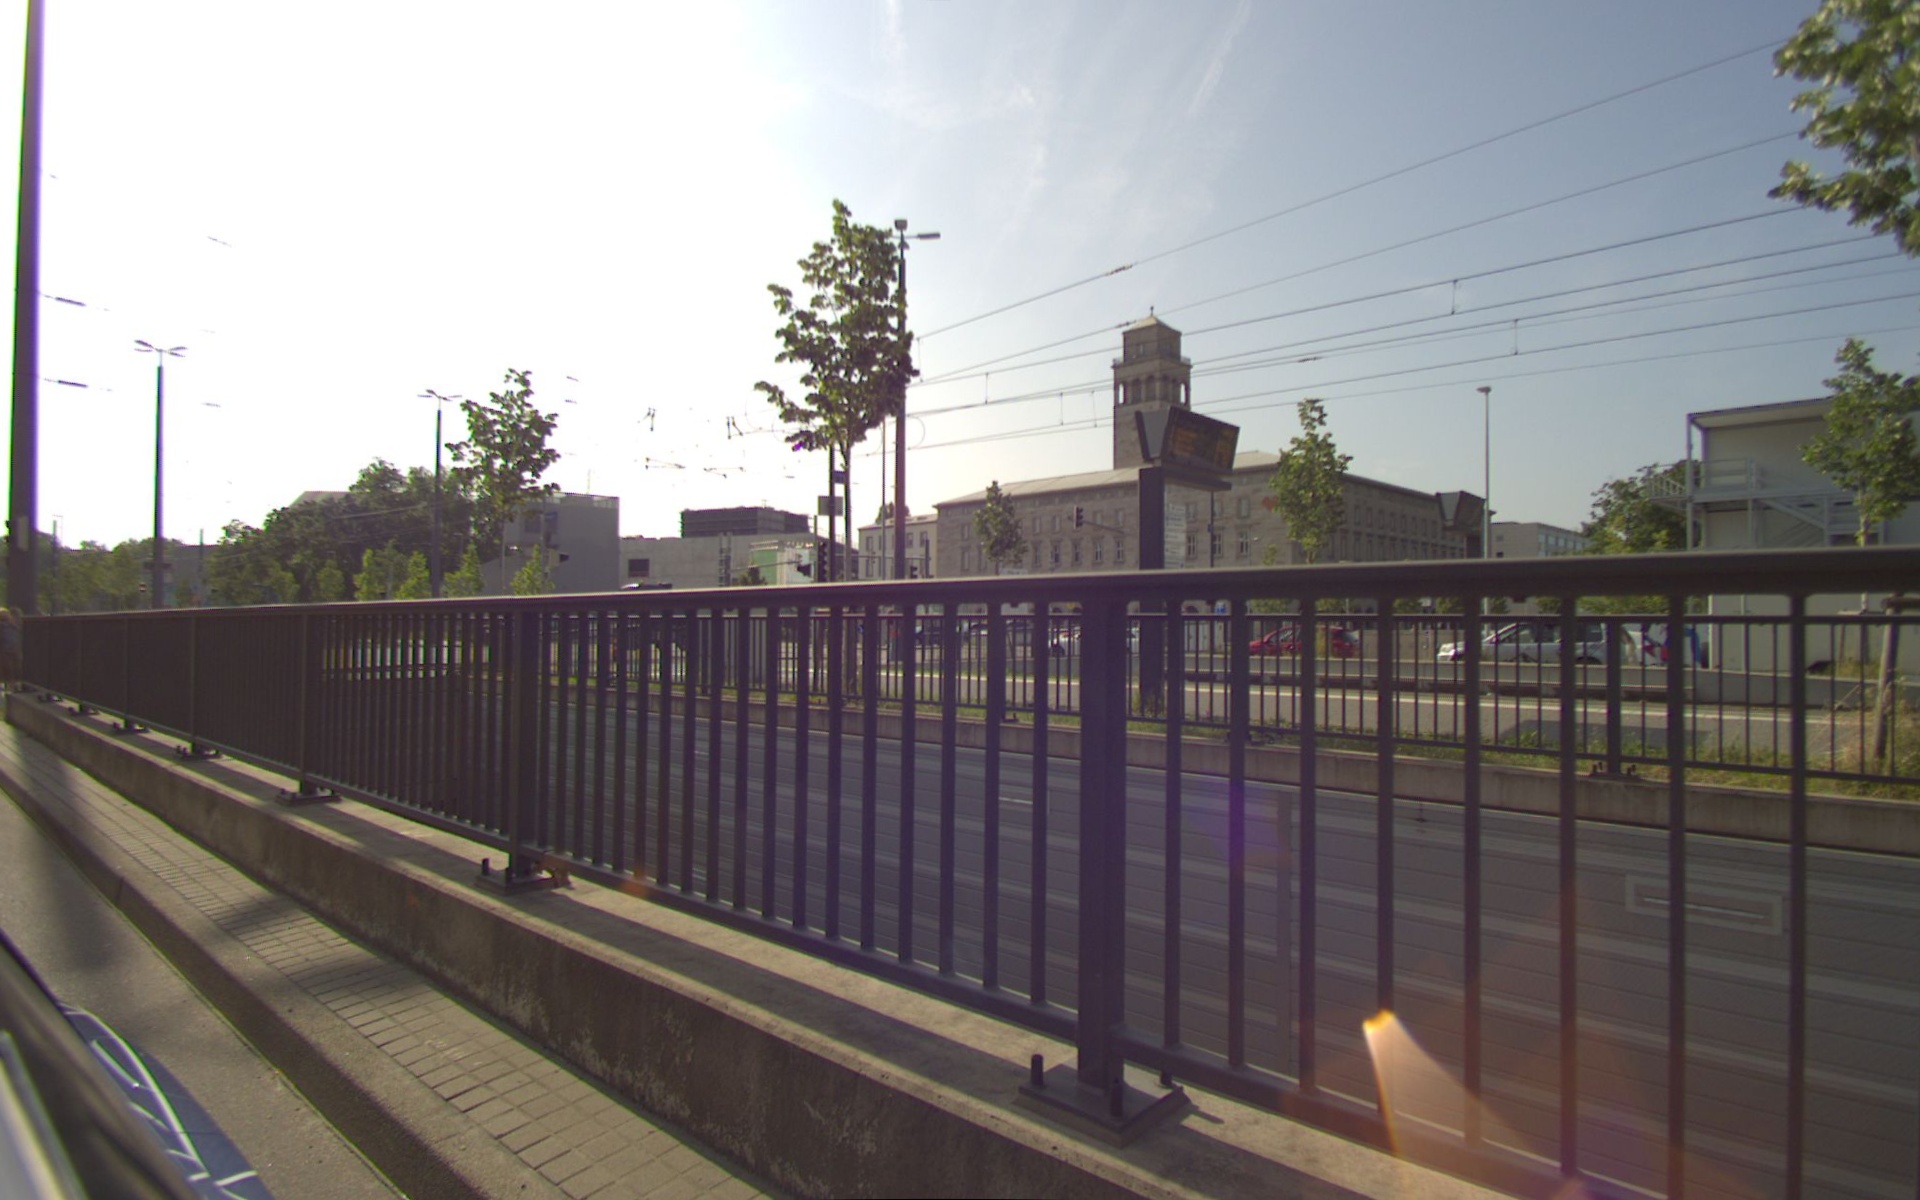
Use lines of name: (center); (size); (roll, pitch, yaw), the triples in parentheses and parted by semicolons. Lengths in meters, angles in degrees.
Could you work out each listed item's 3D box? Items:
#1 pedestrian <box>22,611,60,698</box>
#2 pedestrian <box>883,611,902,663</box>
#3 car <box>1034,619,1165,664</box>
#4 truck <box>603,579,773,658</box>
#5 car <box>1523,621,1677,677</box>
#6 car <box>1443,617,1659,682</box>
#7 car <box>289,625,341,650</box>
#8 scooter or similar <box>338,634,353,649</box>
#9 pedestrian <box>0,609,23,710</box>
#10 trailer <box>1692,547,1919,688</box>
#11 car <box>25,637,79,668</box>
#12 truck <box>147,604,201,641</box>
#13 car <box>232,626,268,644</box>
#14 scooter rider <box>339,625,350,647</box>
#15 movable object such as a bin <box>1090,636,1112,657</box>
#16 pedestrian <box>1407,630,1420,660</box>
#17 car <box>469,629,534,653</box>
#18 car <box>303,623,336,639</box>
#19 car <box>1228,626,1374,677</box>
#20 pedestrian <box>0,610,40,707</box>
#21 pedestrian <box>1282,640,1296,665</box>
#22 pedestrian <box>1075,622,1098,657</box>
pedestrian: (-17.960, 1.048, 19.775); (0.777, 1.662, 0.462); (-2, -2, 42)
pedestrian: (-2.224, 1.222, 33.286); (0.365, 1.689, 0.642); (1, -2, -32)
car: (5.210, 1.542, 38.011); (4.605, 1.594, 1.777); (-1, -2, 35)
truck: (-13.642, 0.991, 50.348); (8.861, 3.614, 2.998); (-2, -2, 32)
car: (17.979, 1.333, 28.496); (3.433, 1.474, 1.579); (-2, -2, 42)
car: (14.561, 1.198, 25.089); (4.400, 1.481, 1.626); (-2, -2, 41)
car: (-48.816, 2.836, 76.553); (4.505, 1.802, 1.603); (-1, -2, 33)
scooter or similar: (-49.460, 3.349, 81.394); (1.381, 1.155, 0.534); (-2, -2, 36)
pedestrian: (-16.107, 0.986, 16.990); (0.777, 1.662, 0.462); (-2, -2, 42)
trailer: (18.894, 0.353, 21.673); (5.019, 2.802, 2.023); (-1, 0, 41)
car: (-46.794, 2.691, 52.131); (3.869, 1.443, 1.686); (-2, 0, 43)
truck: (-85.160, 2.499, 109.566); (10.421, 3.838, 2.939); (-2, -2, 43)
car: (-63.853, 3.155, 91.009); (3.995, 1.614, 1.623); (-1, -2, 39)
scooter rider: (-49.540, 2.897, 81.468); (0.549, 1.711, 0.532); (-2, -2, 37)
movable object such as a bin: (7.071, 2.334, 50.816); (0.557, 1.022, 0.908); (2, -3, -45)
pedestrian: (26.073, 2.576, 58.183); (0.540, 1.722, 0.586); (-2, -2, 40)
car: (-27.414, 2.437, 60.483); (4.415, 1.357, 1.581); (-2, -2, 37)
car: (-65.735, 3.216, 103.839); (3.995, 1.614, 1.623); (-1, -2, 39)
car: (9.938, 1.476, 29.597); (3.693, 1.372, 1.704); (-2, -2, 38)
pedestrian: (-16.635, 1.019, 17.894); (0.777, 1.662, 0.462); (-2, -2, 42)
pedestrian: (16.513, 2.616, 50.822); (0.538, 1.226, 0.438); (-1, 0, 43)
pedestrian: (6.430, 2.016, 51.495); (0.553, 1.747, 1.007); (1, -2, -44)
